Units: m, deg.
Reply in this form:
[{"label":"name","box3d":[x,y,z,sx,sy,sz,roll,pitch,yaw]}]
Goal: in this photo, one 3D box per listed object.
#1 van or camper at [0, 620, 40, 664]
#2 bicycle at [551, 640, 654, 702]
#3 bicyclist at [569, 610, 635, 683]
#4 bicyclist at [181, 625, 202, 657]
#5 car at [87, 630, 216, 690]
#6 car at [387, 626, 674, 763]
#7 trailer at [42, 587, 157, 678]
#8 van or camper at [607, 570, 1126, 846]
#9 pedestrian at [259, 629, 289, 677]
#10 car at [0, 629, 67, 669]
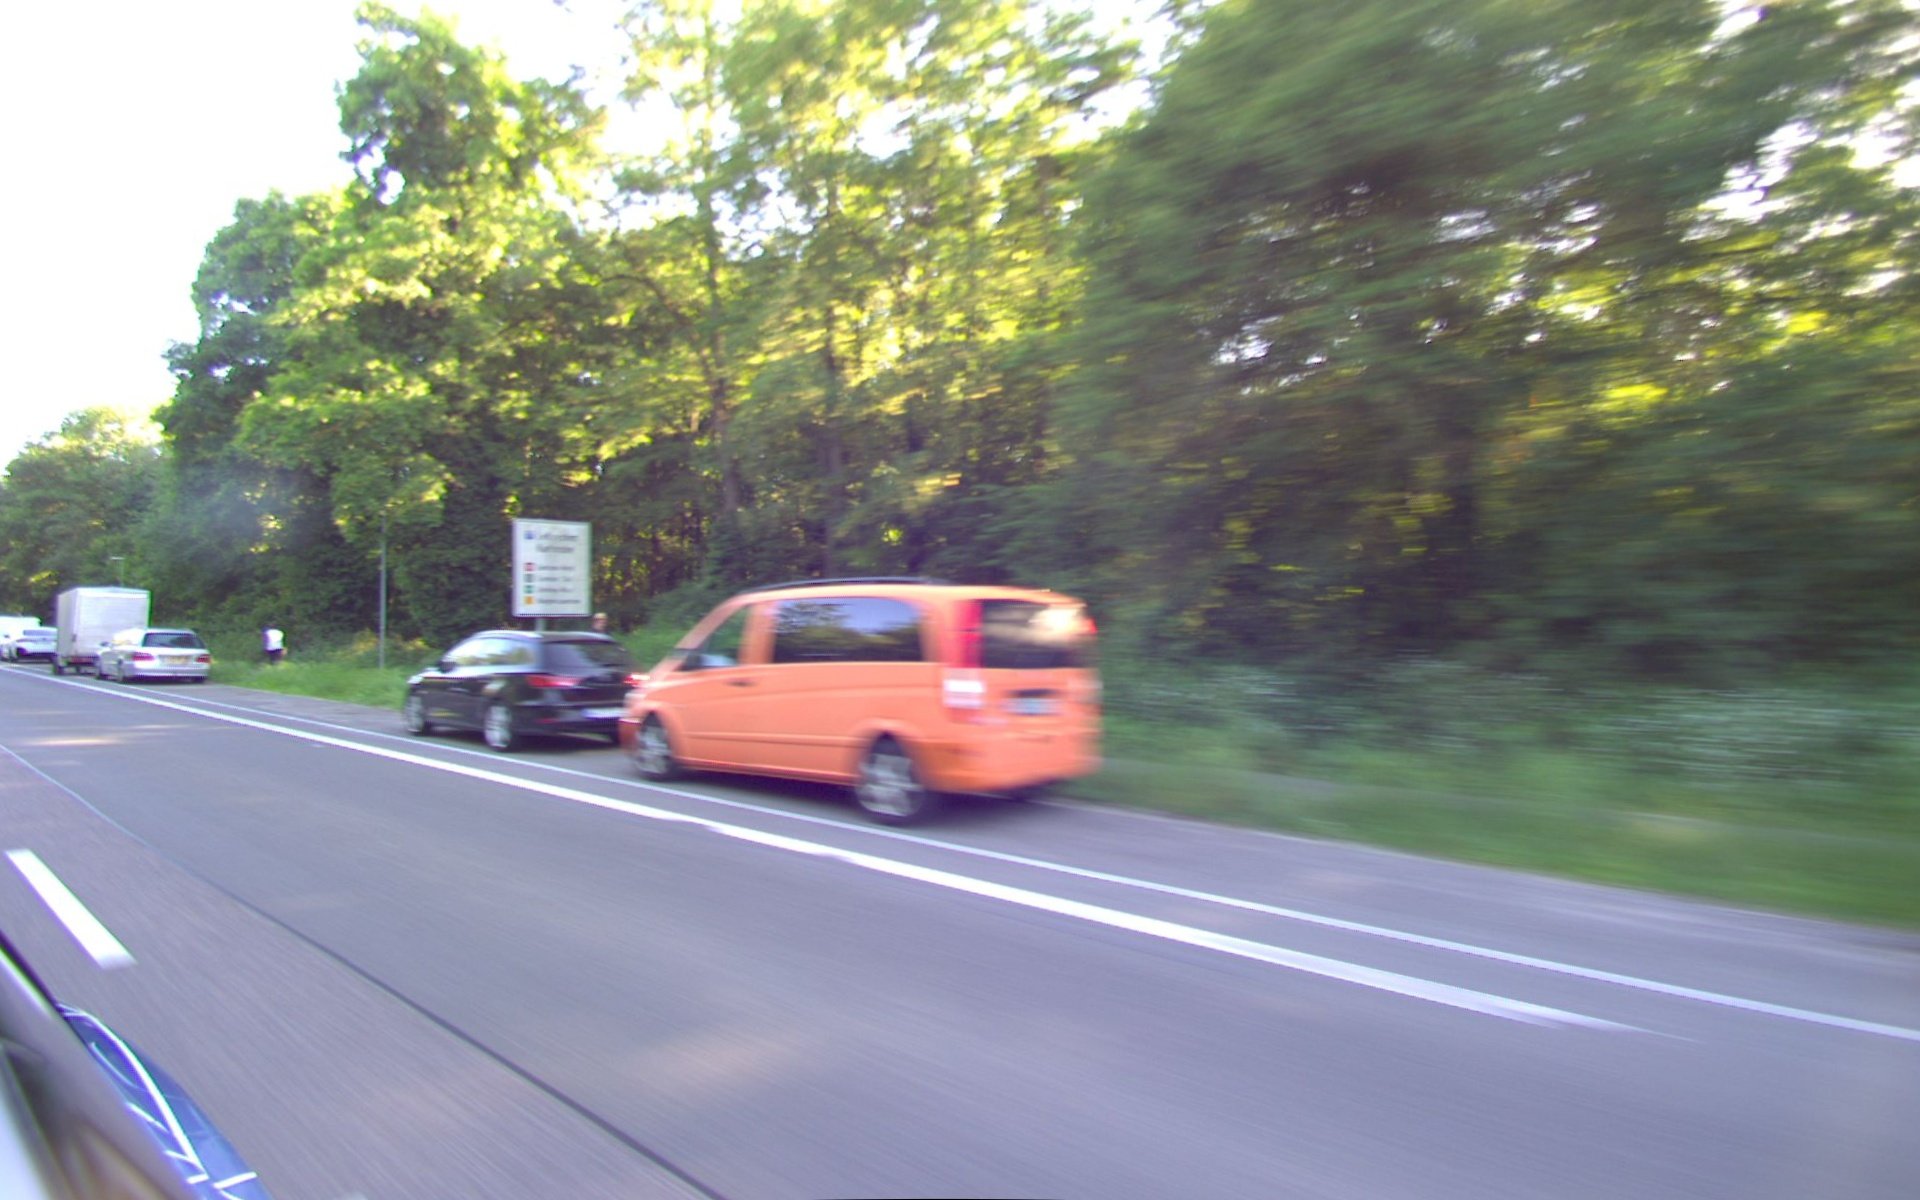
[{"label":"van or camper","box3d":[-43.453,1.884,45.954,4.852,1.926,1.817,-2,-3,40]},{"label":"bicycle","box3d":[-6.327,1.225,17.836,2.282,0.994,0.689,-2,-1,41]},{"label":"bicyclist","box3d":[-6.315,0.803,17.860,1.023,1.231,0.691,-2,-1,41]},{"label":"bicyclist","box3d":[-30.312,1.623,39.913,0.973,1.244,0.482,-2,-1,41]},{"label":"car","box3d":[-21.570,1.549,26.949,4.621,1.465,1.779,-2,-3,40]},{"label":"car","box3d":[-5.691,1.113,13.163,4.322,1.489,1.713,-2,-3,41]},{"label":"trailer","box3d":[-26.630,1.027,31.285,4.413,2.617,1.973,-2,-4,41]},{"label":"van or camper","box3d":[-1.073,0.820,9.246,4.861,1.881,1.902,-2,-3,41]},{"label":"pedestrian","box3d":[-23.231,1.779,34.265,0.700,1.579,0.706,-2,-1,41]},{"label":"car","box3d":[-37.989,1.982,41.242,4.521,1.552,1.756,-2,-3,41]}]
